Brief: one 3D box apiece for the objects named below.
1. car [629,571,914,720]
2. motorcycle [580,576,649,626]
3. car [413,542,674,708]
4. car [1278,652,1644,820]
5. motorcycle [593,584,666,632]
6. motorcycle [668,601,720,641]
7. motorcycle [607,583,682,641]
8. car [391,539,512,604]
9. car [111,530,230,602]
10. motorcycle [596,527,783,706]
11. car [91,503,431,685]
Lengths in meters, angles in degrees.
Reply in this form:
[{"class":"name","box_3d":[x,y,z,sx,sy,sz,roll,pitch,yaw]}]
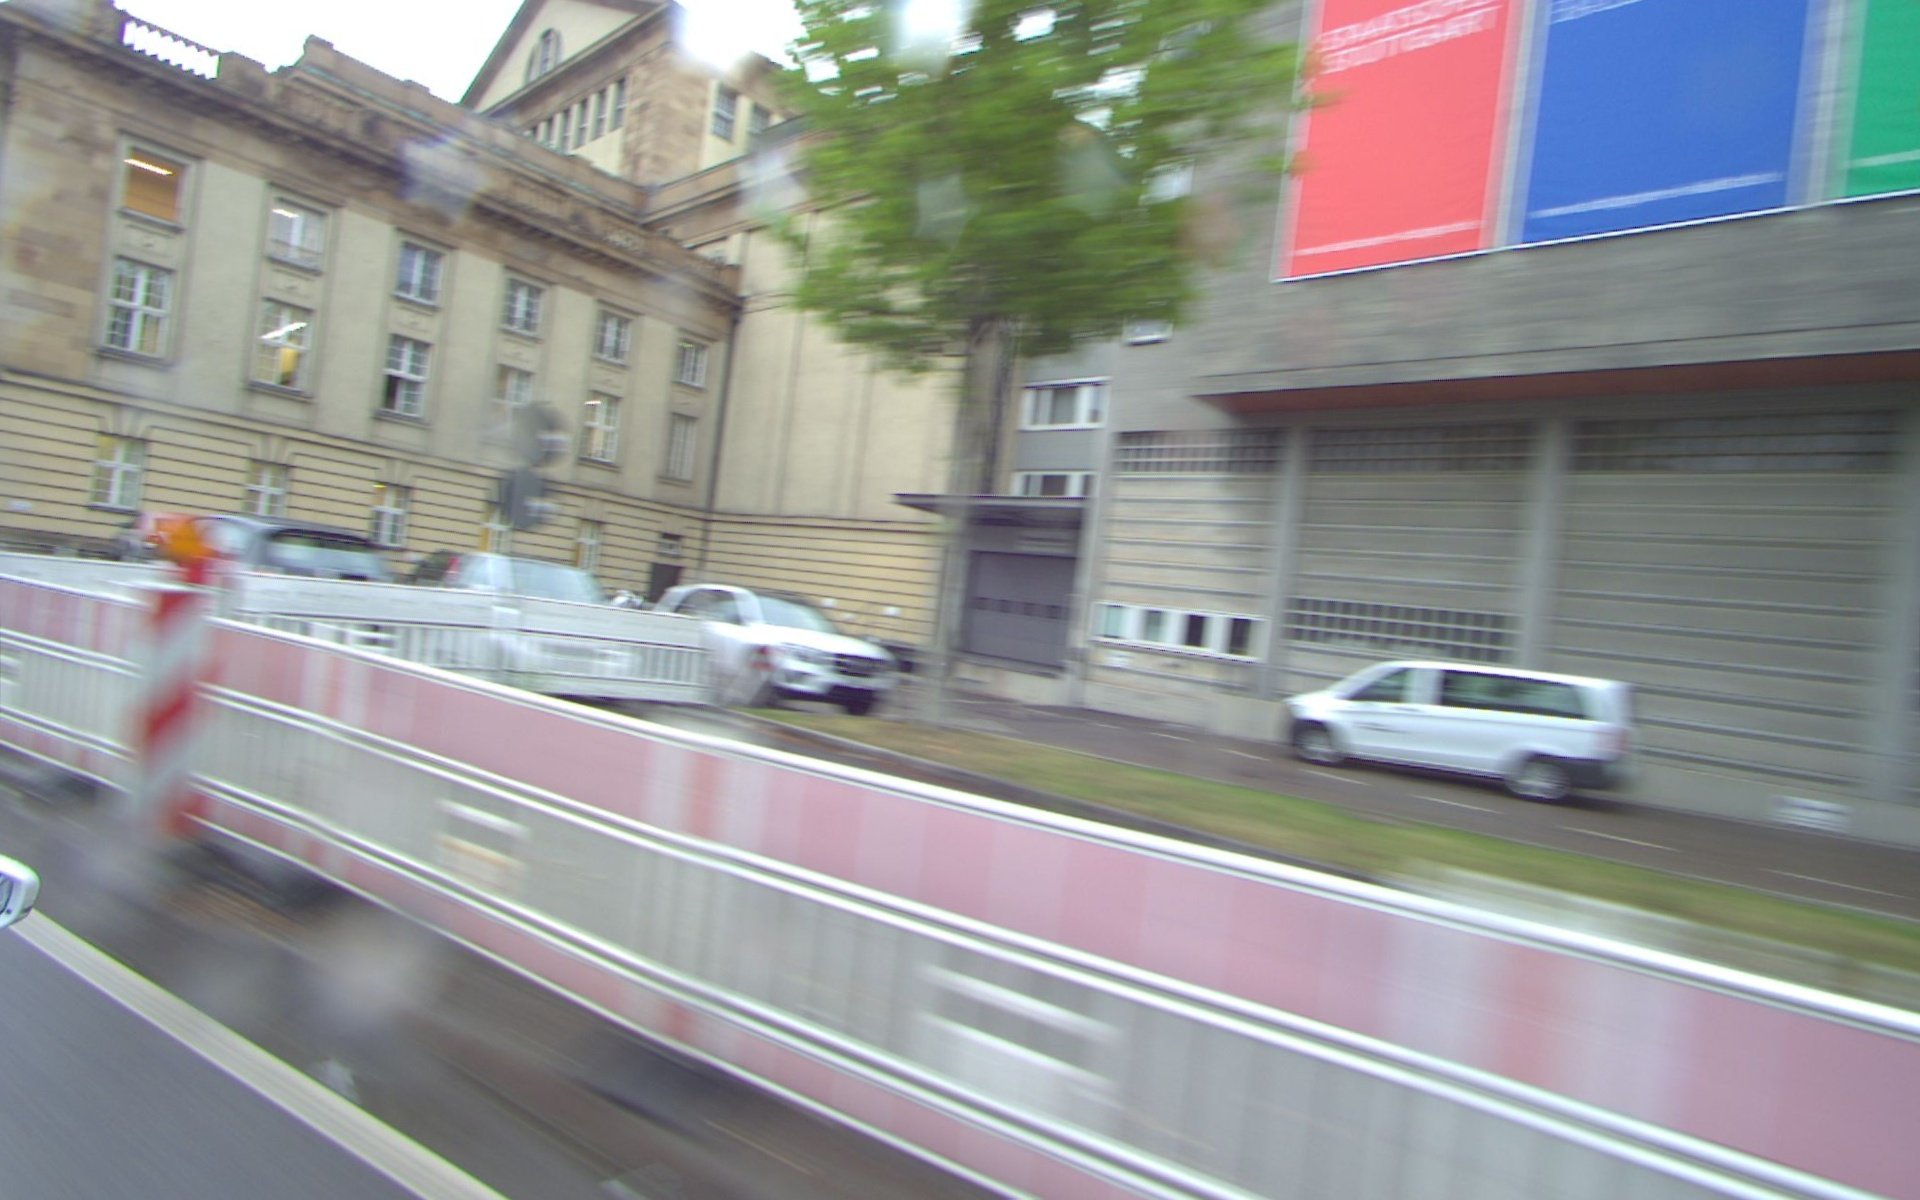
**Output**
[{"class":"car","box_3d":[-2.846,0.568,14.422,1.947,1.702,4.444,8,-4,-40]},{"class":"motorcycle","box_3d":[-12.000,0.035,34.951,0.875,1.490,1.968,6,-1,43]},{"class":"car","box_3d":[-4.808,0.250,11.480,2.982,1.555,1.578,5,-2,44]},{"class":"car","box_3d":[7.804,2.017,15.971,4.814,1.809,1.772,5,-1,39]},{"class":"motorcycle","box_3d":[-10.897,0.276,33.252,0.839,1.209,1.972,6,-6,43]},{"class":"motorcycle","box_3d":[-10.136,0.813,38.312,1.657,1.354,0.726,7,-1,-45]},{"class":"motorcycle","box_3d":[-10.190,0.398,32.505,0.838,1.562,1.969,8,-2,43]},{"class":"car","box_3d":[-15.850,-0.924,31.252,4.447,1.558,1.815,6,-1,43]},{"class":"car","box_3d":[-19.950,-0.885,25.361,4.071,1.427,1.519,5,-2,41]},{"class":"motorcycle","box_3d":[-3.339,0.149,12.232,2.554,1.928,0.747,5,1,41]},{"class":"car","box_3d":[-7.479,-0.092,10.691,3.564,1.511,1.689,5,-3,34]}]
